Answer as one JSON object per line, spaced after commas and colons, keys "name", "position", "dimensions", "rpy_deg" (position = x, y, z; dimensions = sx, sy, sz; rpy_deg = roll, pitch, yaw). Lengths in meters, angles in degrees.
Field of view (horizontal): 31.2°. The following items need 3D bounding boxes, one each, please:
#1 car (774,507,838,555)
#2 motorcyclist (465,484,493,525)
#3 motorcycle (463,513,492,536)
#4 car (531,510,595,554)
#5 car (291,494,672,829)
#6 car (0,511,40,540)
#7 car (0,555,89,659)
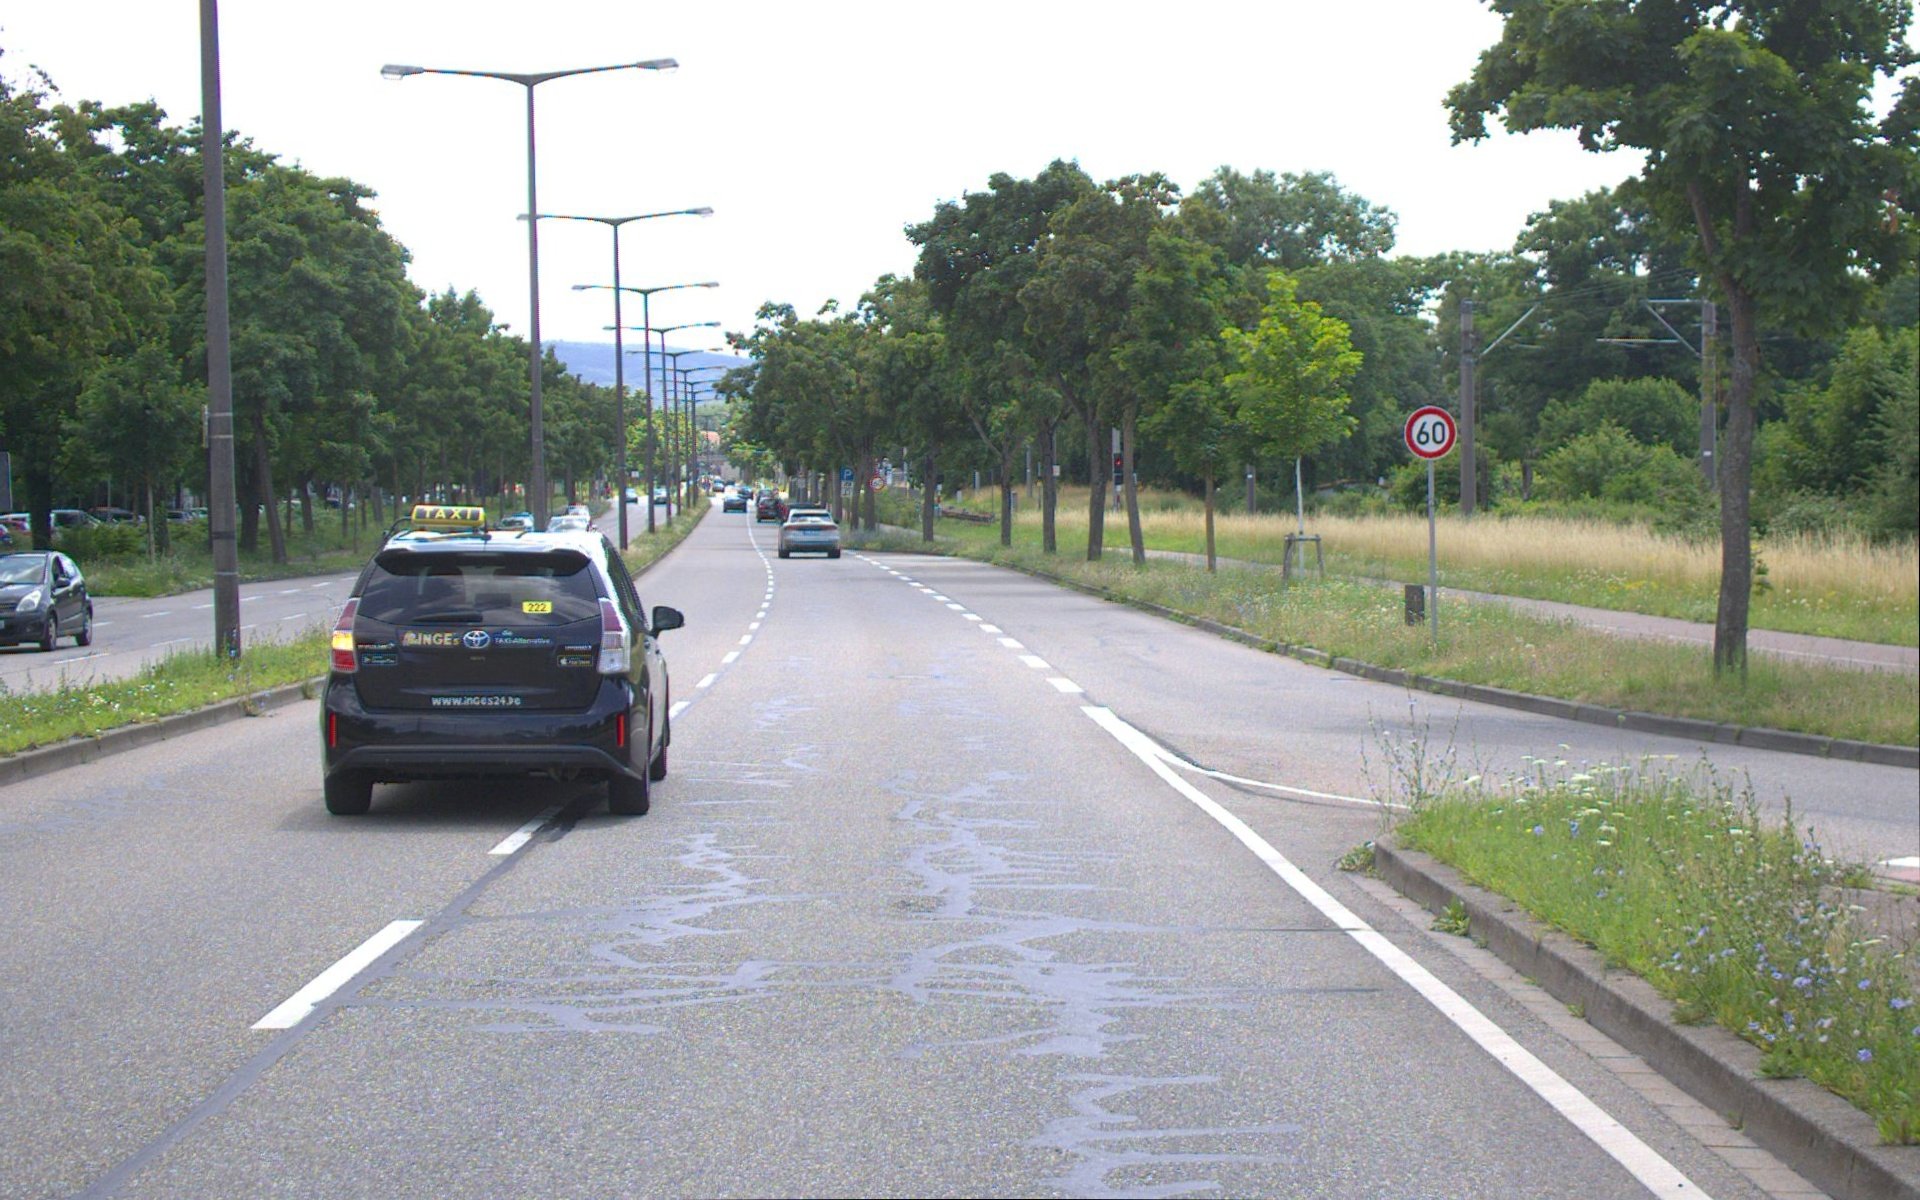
{"name": "car", "position": [-5.217, -2.347, 116.095], "dimensions": [1.993, 1.503, 4.001], "rpy_deg": [1, 2, -4]}
{"name": "motorcyclist", "position": [-16.831, -3.336, 120.280], "dimensions": [0.827, 1.409, 1.329], "rpy_deg": [1, 2, -2]}
{"name": "motorcycle", "position": [-16.859, -2.637, 120.107], "dimensions": [0.751, 0.769, 2.672], "rpy_deg": [1, 2, -2]}
{"name": "car", "position": [-13.481, -2.332, 116.848], "dimensions": [1.810, 1.393, 4.734], "rpy_deg": [-1, 2, -3]}
{"name": "car", "position": [-2.644, 0.260, 19.789], "dimensions": [1.779, 1.678, 4.001], "rpy_deg": [1, 2, -2]}
{"name": "car", "position": [-47.390, -3.666, 169.014], "dimensions": [3.785, 1.383, 1.786], "rpy_deg": [1, 2, 1]}
{"name": "car", "position": [-13.574, 0.076, 49.649], "dimensions": [1.700, 1.422, 3.676], "rpy_deg": [-1, 1, -11]}
